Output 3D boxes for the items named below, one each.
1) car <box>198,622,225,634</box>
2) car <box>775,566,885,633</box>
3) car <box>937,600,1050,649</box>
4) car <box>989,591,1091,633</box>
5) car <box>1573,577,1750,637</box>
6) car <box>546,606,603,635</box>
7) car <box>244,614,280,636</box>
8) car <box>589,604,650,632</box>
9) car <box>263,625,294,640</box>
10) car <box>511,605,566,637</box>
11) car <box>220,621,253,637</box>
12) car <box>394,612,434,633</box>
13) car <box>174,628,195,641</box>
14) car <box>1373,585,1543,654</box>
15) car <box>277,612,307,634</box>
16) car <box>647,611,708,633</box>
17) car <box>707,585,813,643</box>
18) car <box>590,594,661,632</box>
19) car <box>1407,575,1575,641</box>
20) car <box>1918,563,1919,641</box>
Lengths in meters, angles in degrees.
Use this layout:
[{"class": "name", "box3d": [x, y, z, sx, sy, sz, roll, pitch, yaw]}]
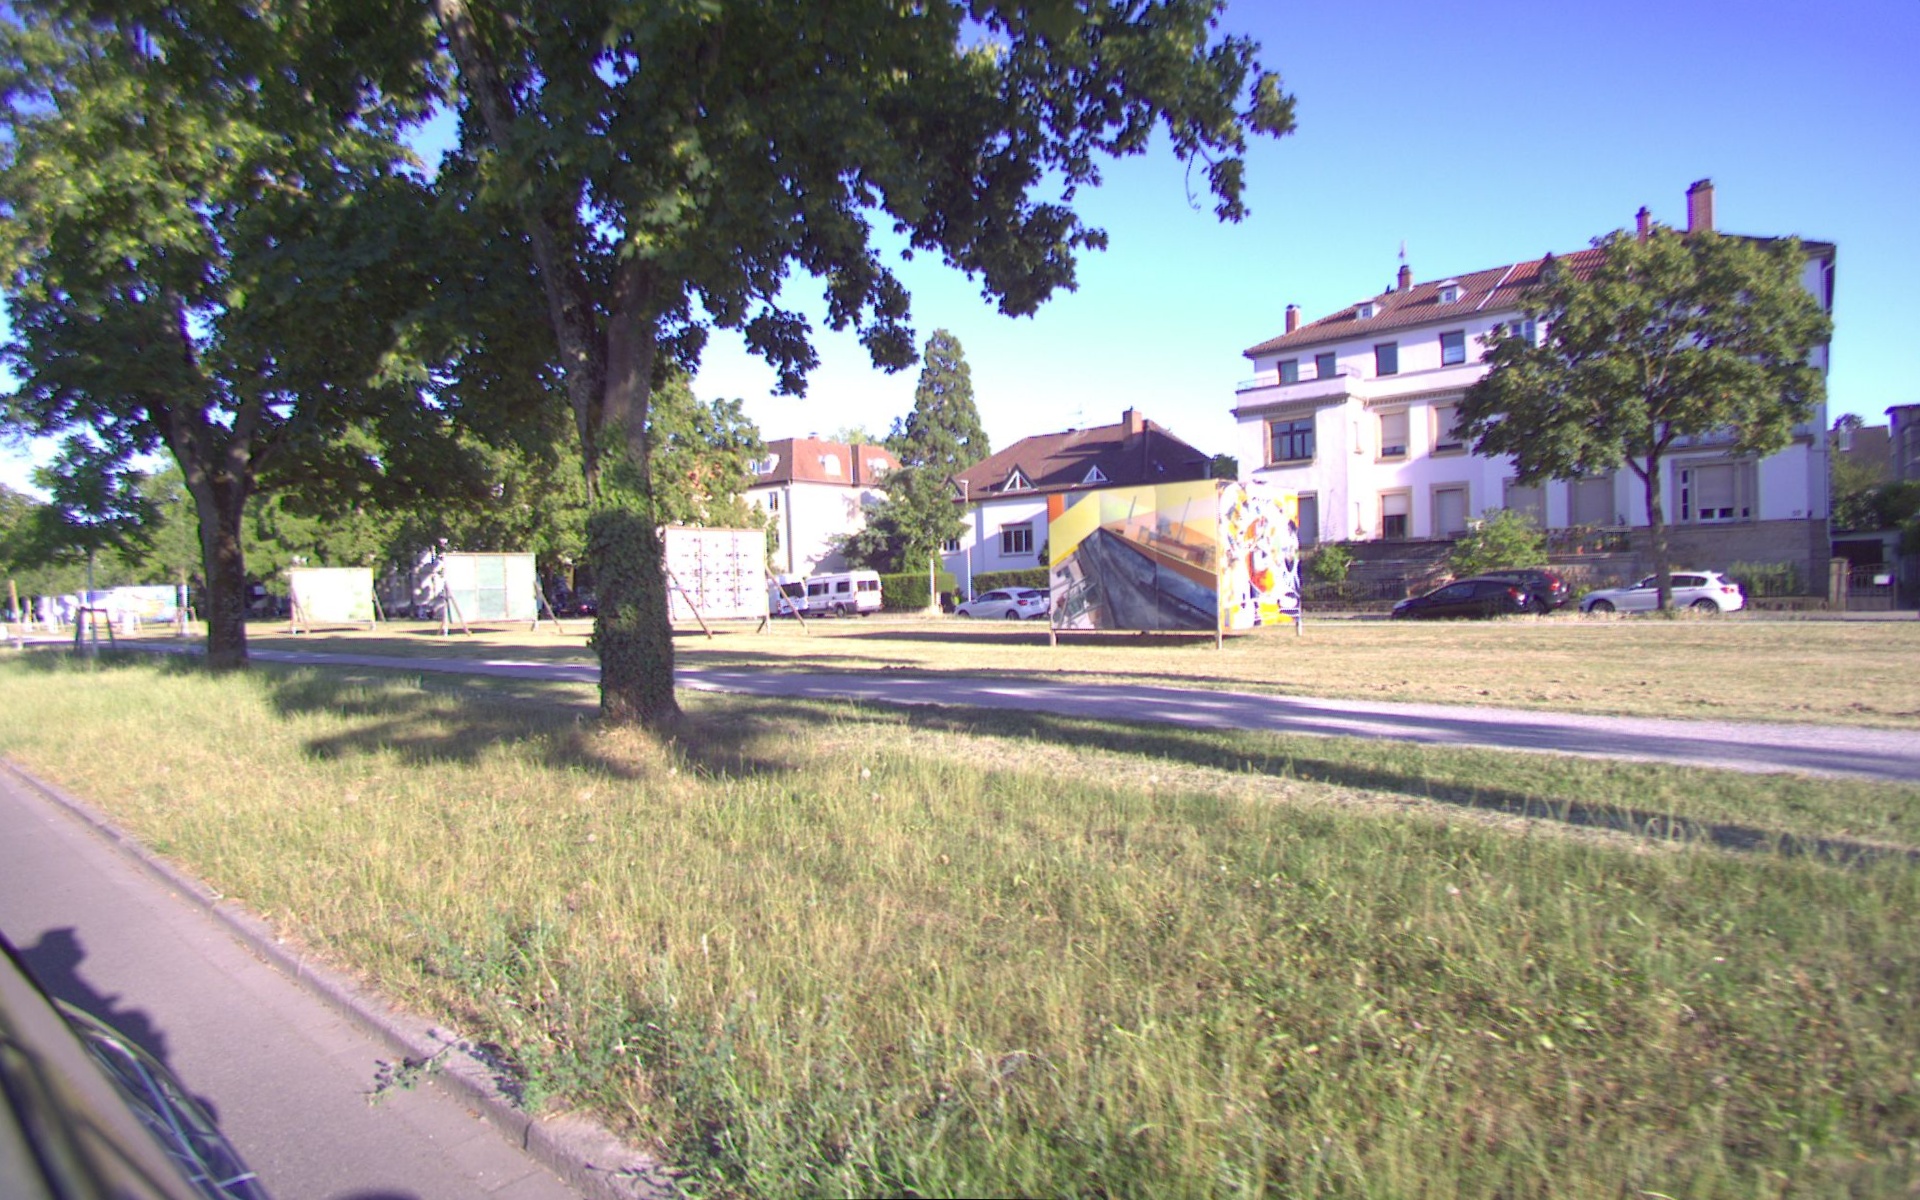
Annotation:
[{"class": "car", "box3d": [-106.703, 3.992, 144.199, 3.992, 1.510, 1.976, -3, -1, 37]}, {"class": "car", "box3d": [-7.484, 0.017, 57.686, 6.762, 3.586, 2.279, -1, -3, 41]}, {"class": "car", "box3d": [1.361, 1.031, 42.593, 4.641, 1.914, 1.814, -1, -3, 42]}, {"class": "car", "box3d": [3.758, 0.598, 48.114, 4.711, 1.868, 1.712, -1, -3, 41]}, {"class": "car", "box3d": [22.249, 0.252, 32.215, 4.459, 1.757, 1.802, -1, -3, 42]}, {"class": "car", "box3d": [-29.528, 1.579, 77.371, 5.048, 2.019, 1.949, -2, 0, 42]}, {"class": "car", "box3d": [-75.270, 2.736, 109.126, 4.565, 2.191, 1.974, -3, -1, 39]}, {"class": "car", "box3d": [-20.580, 1.107, 61.080, 4.306, 1.576, 1.400, -2, 0, 40]}, {"class": "car", "box3d": [-71.054, 3.373, 105.434, 4.043, 1.325, 1.833, -1, 1, 44]}, {"class": "car", "box3d": [-33.697, 1.668, 80.848, 5.115, 2.437, 1.916, -1, -3, 42]}, {"class": "car", "box3d": [-82.774, 3.331, 115.780, 4.341, 1.742, 1.974, -3, -1, 40]}, {"class": "car", "box3d": [-52.448, 2.156, 97.123, 4.712, 1.927, 1.870, -2, 0, 42]}, {"class": "car", "box3d": [-101.032, 4.519, 131.838, 1.868, 1.534, 3.683, -1, -1, -43]}, {"class": "car", "box3d": [15.052, 0.606, 30.726, 4.325, 1.931, 1.870, -1, -3, 41]}, {"class": "car", "box3d": [-79.608, 2.707, 120.561, 3.998, 2.560, 1.973, 0, 1, 41]}, {"class": "car", "box3d": [-19.068, 1.466, 68.234, 4.564, 1.413, 1.971, -1, -3, 45]}, {"class": "car", "box3d": [-10.474, 0.762, 52.696, 5.869, 2.847, 2.236, -1, -3, 42]}, {"class": "car", "box3d": [-24.145, 0.956, 72.988, 6.087, 2.617, 1.973, -1, -3, 41]}, {"class": "car", "box3d": [18.578, 0.312, 35.554, 4.853, 2.147, 2.214, -1, -3, 42]}, {"class": "car", "box3d": [24.405, 0.017, 22.297, 4.689, 1.842, 1.908, -1, -3, 41]}]
